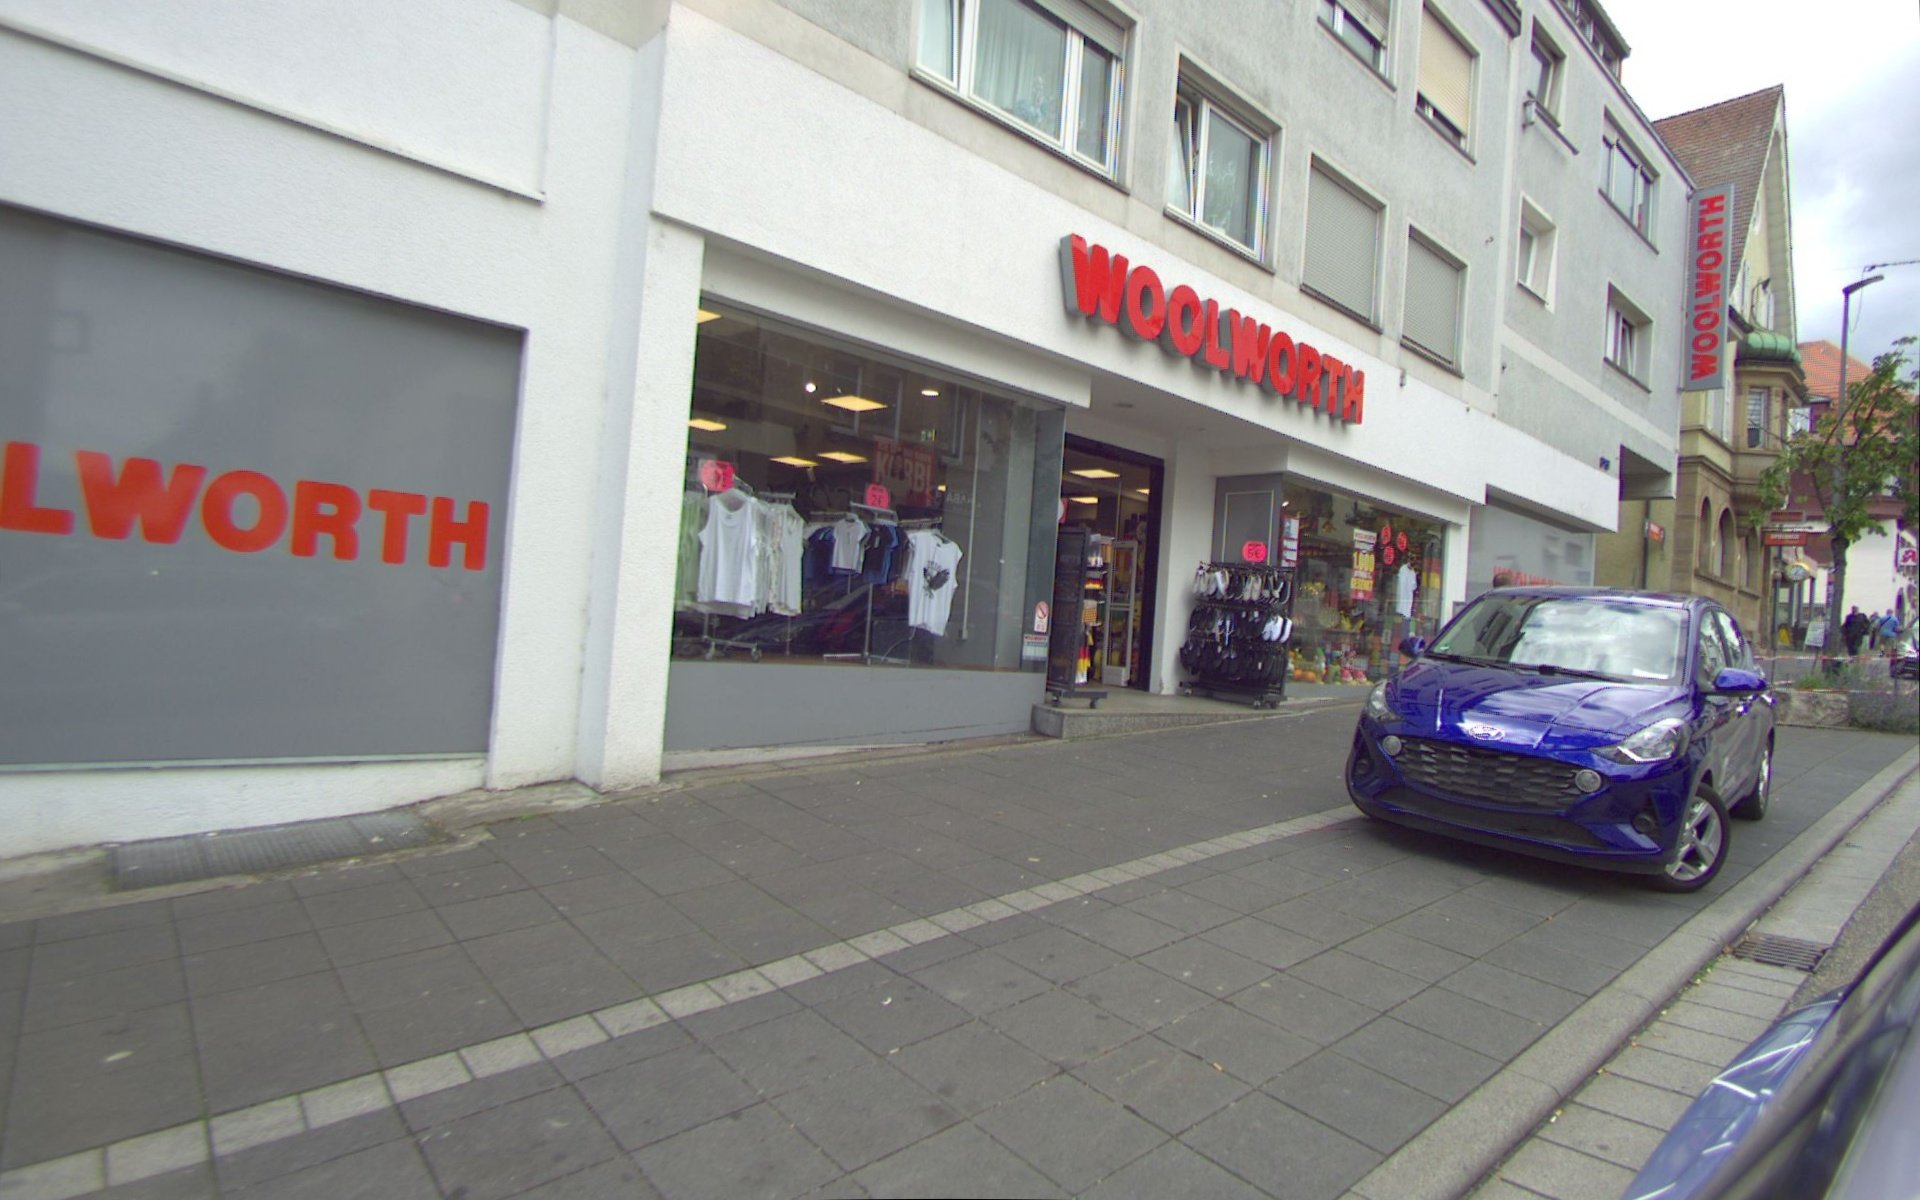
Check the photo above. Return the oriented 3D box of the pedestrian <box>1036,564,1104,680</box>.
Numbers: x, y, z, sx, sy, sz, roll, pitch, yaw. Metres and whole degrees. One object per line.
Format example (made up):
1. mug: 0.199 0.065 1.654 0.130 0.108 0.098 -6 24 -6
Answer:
1. pedestrian: 1.273 0.240 11.657 0.504 1.281 0.578 2 1 45

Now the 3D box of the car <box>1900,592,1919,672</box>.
1. car: 21.556 0.730 21.469 3.730 1.627 1.753 1 2 -38

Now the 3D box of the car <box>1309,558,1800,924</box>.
1. car: 3.887 0.561 6.331 1.750 1.515 3.740 5 5 44

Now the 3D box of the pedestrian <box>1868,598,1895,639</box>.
1. pedestrian: 40.972 0.816 44.996 0.803 1.791 0.776 2 0 -39

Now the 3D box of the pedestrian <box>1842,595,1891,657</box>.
1. pedestrian: 25.530 0.714 28.510 0.786 1.687 0.827 2 0 -35

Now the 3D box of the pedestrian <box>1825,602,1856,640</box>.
1. pedestrian: 39.157 0.929 45.019 0.853 1.665 0.775 2 1 -35

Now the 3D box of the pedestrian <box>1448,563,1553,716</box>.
1. pedestrian: 5.908 0.406 11.062 0.804 1.580 0.757 2 1 -43

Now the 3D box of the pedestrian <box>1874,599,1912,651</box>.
1. pedestrian: 32.413 0.863 35.152 1.034 1.748 0.798 1 1 -41
